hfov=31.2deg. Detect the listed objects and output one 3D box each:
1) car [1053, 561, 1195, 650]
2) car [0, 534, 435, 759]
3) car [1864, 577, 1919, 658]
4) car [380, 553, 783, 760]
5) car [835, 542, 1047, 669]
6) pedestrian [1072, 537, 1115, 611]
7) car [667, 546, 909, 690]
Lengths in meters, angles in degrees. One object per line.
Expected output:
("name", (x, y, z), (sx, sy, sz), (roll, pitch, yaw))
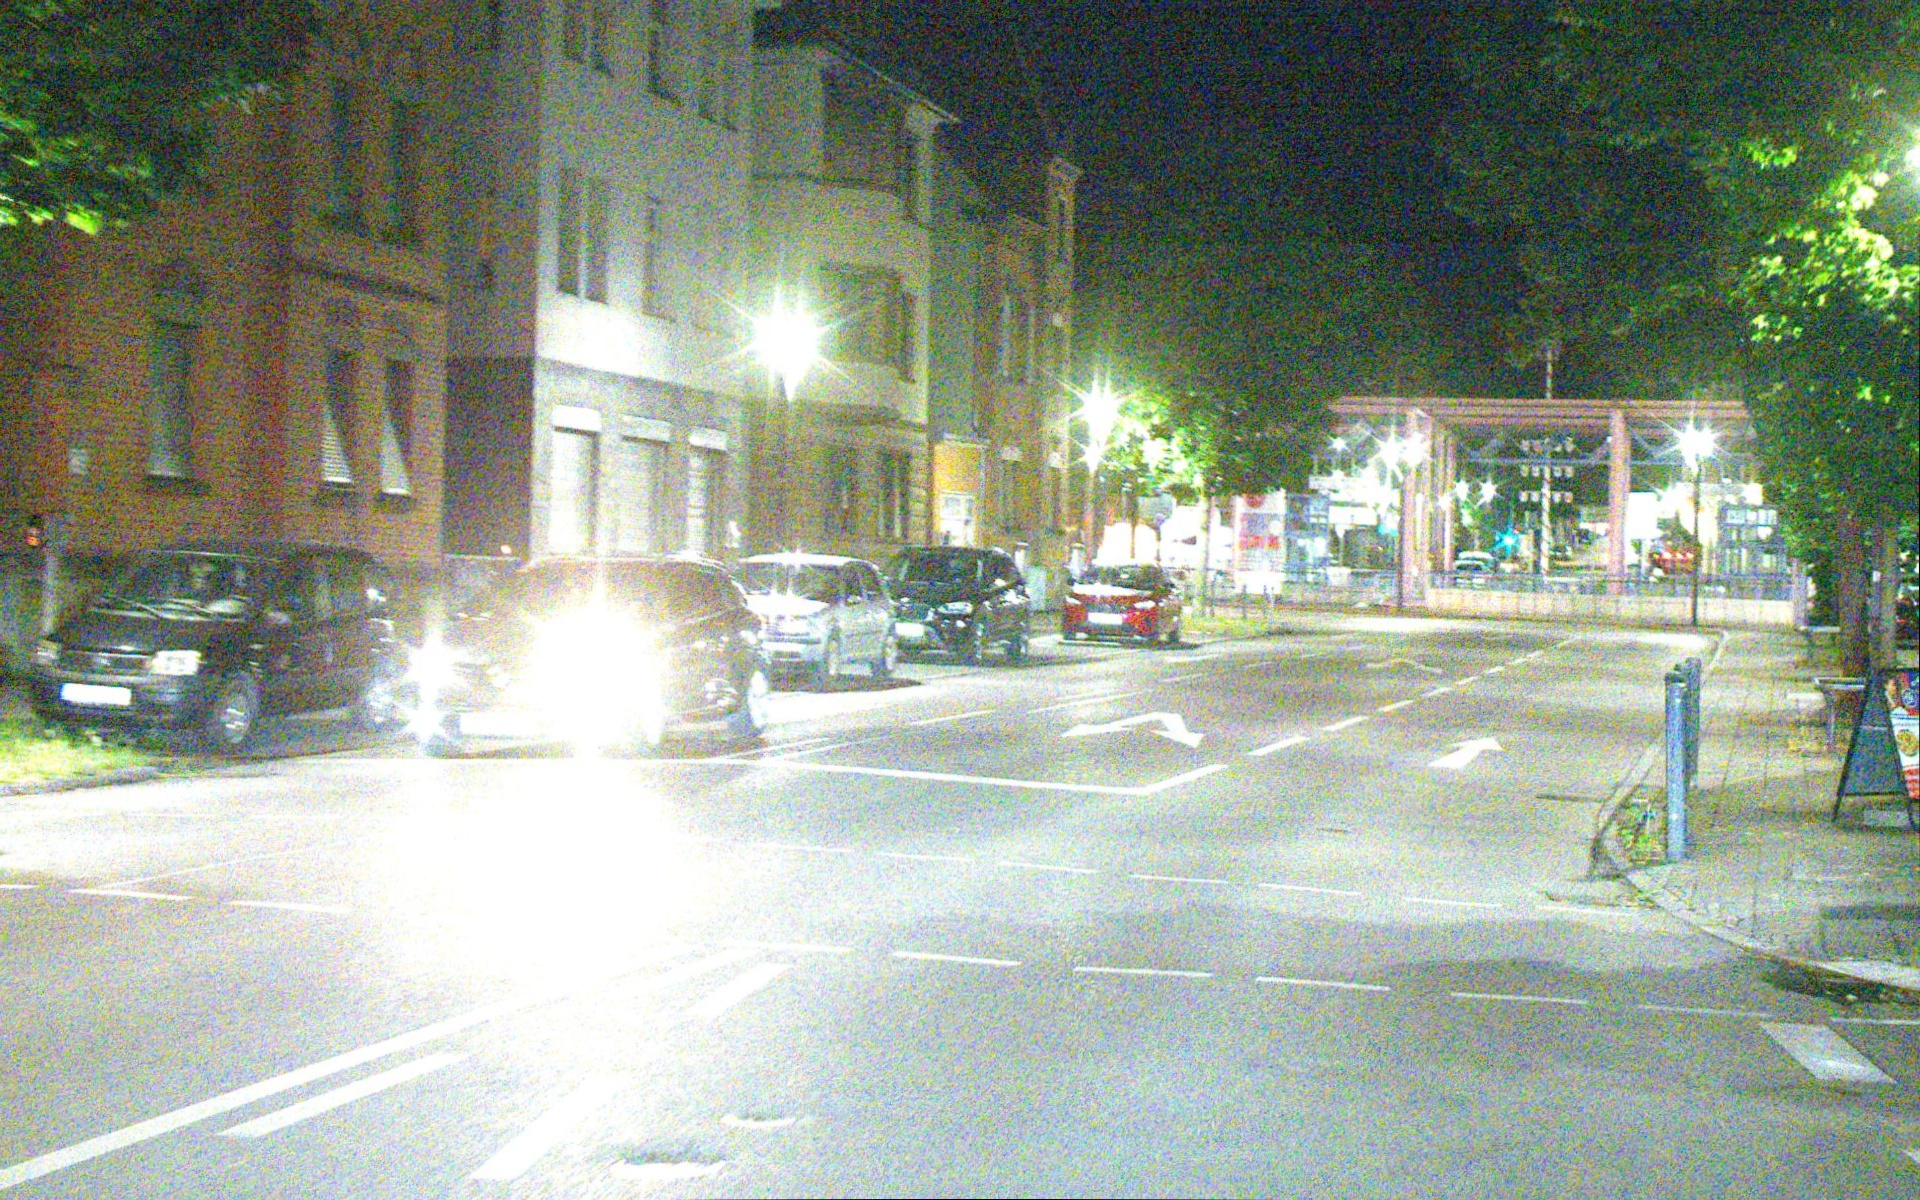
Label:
("car", (2.930, 0.068, 60.714), (1.785, 1.411, 4.124), (3, 1, 12))
("car", (-5.639, 0.292, 26.406), (1.594, 1.486, 3.696), (4, 2, 18))
("car", (18.369, 0.325, 65.540), (1.734, 1.454, 4.726), (2, 1, 10))
("car", (-2.733, 0.364, 25.738), (1.716, 1.425, 3.997), (0, 1, 14))
("car", (-0.210, 0.050, 48.497), (1.786, 1.576, 4.408), (4, 2, 15))
("pedestrian", (3.340, -0.647, 86.209), (0.723, 1.815, 0.692), (3, 0, -33))
("car", (-1.972, 0.167, 40.547), (1.785, 1.486, 3.998), (4, 2, 12))
